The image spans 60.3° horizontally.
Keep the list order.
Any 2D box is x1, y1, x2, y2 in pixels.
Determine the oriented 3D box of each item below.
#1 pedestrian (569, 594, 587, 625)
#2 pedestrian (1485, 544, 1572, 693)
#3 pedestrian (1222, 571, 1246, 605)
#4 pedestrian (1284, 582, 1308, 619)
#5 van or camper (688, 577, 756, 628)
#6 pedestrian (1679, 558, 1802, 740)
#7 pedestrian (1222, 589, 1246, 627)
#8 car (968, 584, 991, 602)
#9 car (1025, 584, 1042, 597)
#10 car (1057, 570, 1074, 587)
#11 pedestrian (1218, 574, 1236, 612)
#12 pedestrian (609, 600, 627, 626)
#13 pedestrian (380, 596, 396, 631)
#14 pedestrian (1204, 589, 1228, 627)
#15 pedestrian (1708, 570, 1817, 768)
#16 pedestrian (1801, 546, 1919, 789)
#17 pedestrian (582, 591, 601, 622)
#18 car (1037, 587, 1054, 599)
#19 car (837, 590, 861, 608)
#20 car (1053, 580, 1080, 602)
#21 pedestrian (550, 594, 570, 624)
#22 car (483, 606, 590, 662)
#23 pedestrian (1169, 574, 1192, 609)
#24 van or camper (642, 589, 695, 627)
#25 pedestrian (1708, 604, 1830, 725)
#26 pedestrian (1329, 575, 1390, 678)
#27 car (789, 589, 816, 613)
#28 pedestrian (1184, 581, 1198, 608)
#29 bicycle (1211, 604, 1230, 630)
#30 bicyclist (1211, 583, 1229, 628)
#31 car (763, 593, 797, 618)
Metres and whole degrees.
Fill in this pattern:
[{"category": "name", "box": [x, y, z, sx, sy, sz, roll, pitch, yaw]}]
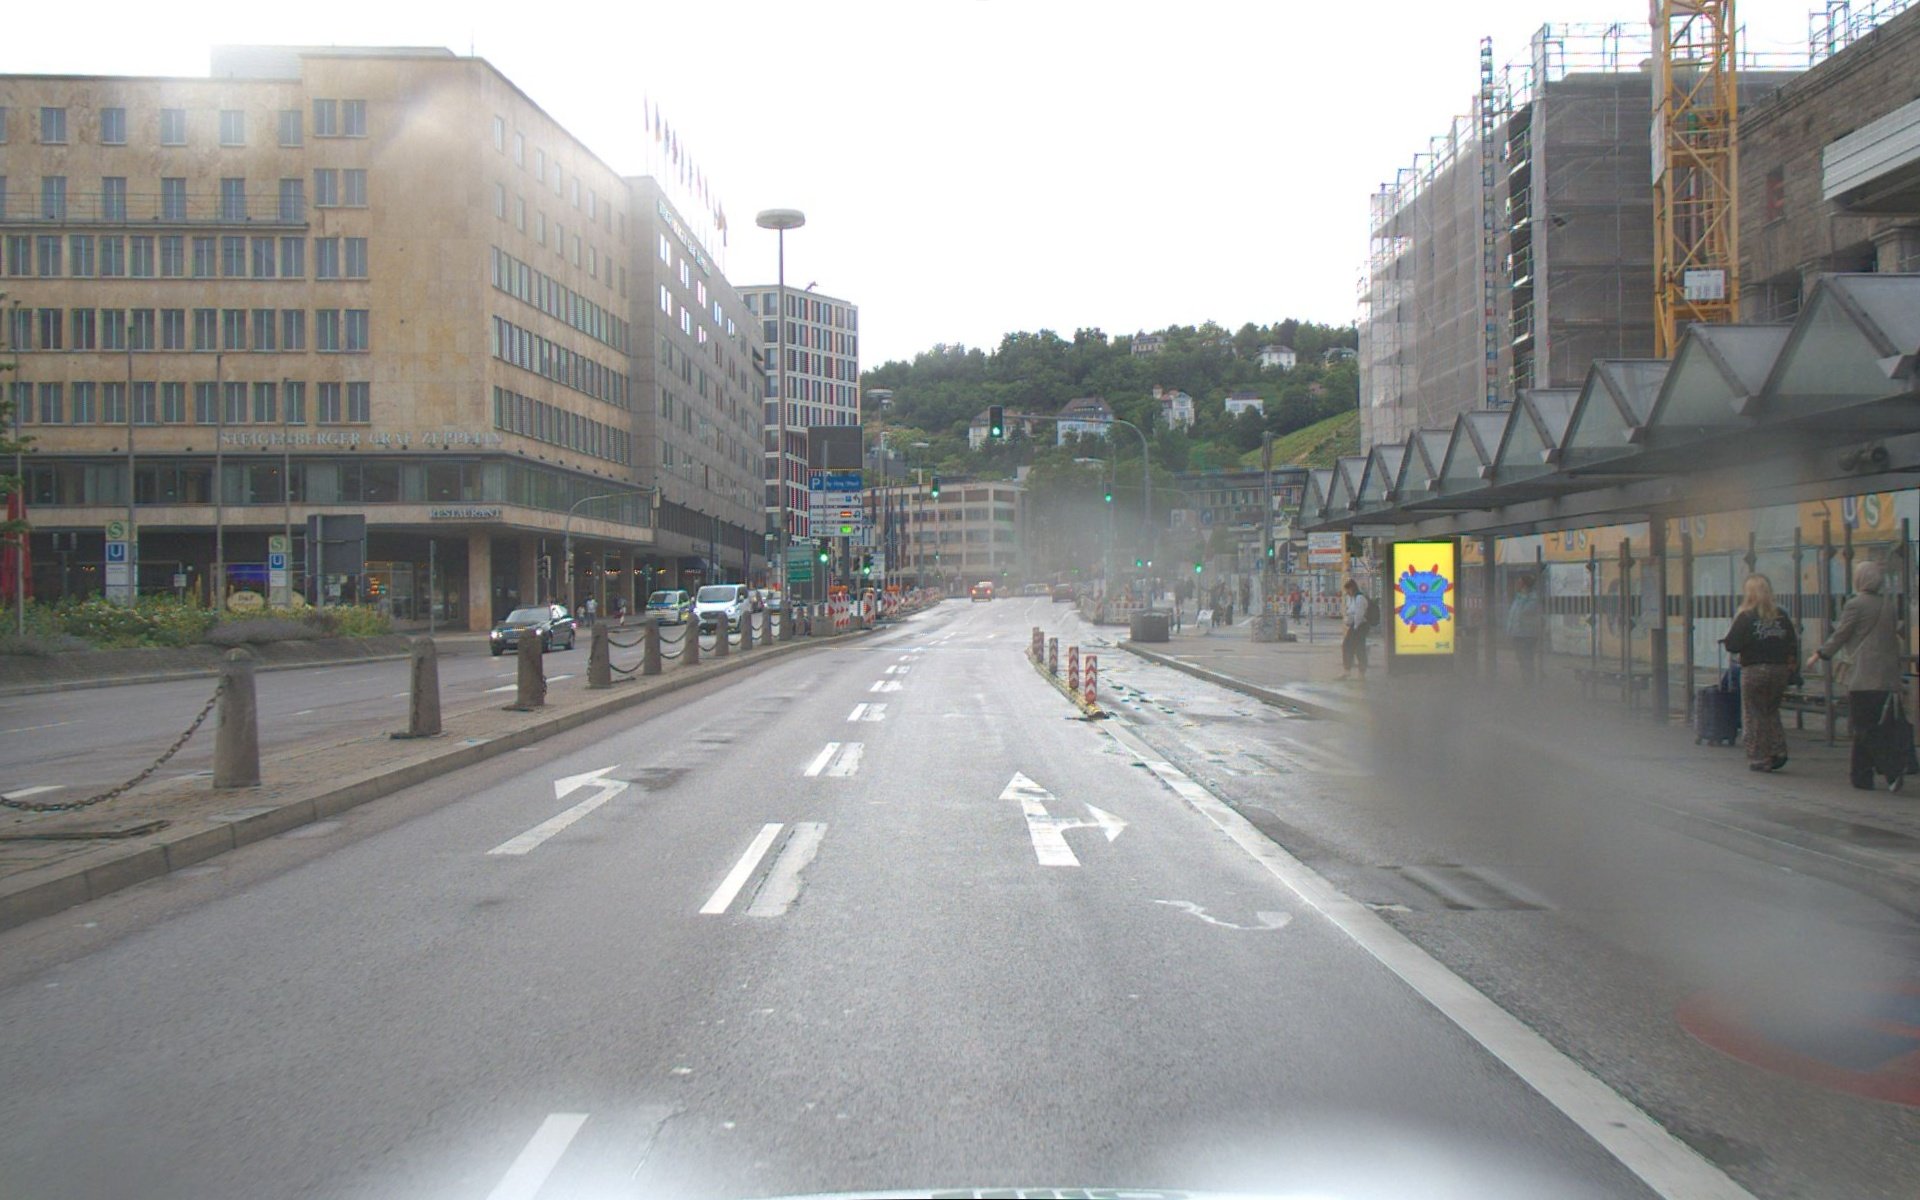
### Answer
[{"category": "pedestrian", "box": [-19.980, 0.512, 86.499, 0.706, 1.584, 0.905, -1, 0, 3]}, {"category": "pedestrian", "box": [8.179, 0.261, 23.816, 0.797, 2.086, 0.913, 1, 0, -41]}, {"category": "pedestrian", "box": [15.165, -0.679, 91.529, 0.853, 1.873, 0.943, -2, -1, 44]}, {"category": "pedestrian", "box": [15.152, 0.016, 74.560, 0.754, 1.636, 0.860, -1, 0, -13]}, {"category": "van or camper", "box": [-9.986, 0.118, 69.877, 1.952, 2.049, 5.190, -1, 0, 2]}, {"category": "pedestrian", "box": [7.457, 0.458, 15.835, 0.791, 1.689, 0.804, 0, 0, -1]}, {"category": "pedestrian", "box": [11.872, 0.333, 71.603, 0.780, 1.636, 0.834, -1, 0, 30]}, {"category": "car", "box": [1.775, -0.643, 150.530, 1.953, 1.579, 3.999, -1, 0, -1]}, {"category": "car", "box": [8.686, -1.084, 195.232, 1.782, 1.467, 4.000, 1, 0, 0]}, {"category": "car", "box": [11.530, -2.338, 180.662, 1.739, 1.668, 4.001, -2, -2, 2]}, {"category": "pedestrian", "box": [13.607, -0.349, 84.337, 0.846, 1.873, 0.798, -1, 0, 11]}, {"category": "pedestrian", "box": [-20.417, 0.774, 98.725, 0.778, 1.553, 0.916, -1, 0, 3]}, {"category": "pedestrian", "box": [-27.773, 0.640, 80.276, 0.684, 1.673, 0.647, -1, 0, -18]}, {"category": "pedestrian", "box": [11.154, 0.332, 72.004, 0.780, 1.636, 0.834, -1, 0, 30]}, {"category": "pedestrian", "box": [6.630, 0.554, 13.690, 0.510, 1.593, 0.728, -1, 0, -1]}, {"category": "pedestrian", "box": [6.801, 0.479, 12.194, 0.747, 1.723, 0.822, -1, 0, -1]}, {"category": "pedestrian", "box": [-19.247, 0.358, 86.452, 0.706, 1.584, 0.895, -1, 0, 3]}, {"category": "car", "box": [10.876, -0.874, 210.309, 1.953, 1.467, 4.000, 1, 0, 0]}, {"category": "car", "box": [-11.110, -0.079, 165.347, 1.952, 1.780, 4.001, -1, 0, 2]}, {"category": "car", "box": [8.692, -0.686, 135.306, 1.953, 1.736, 4.000, -1, 0, 0]}, {"category": "pedestrian", "box": [-20.966, 0.478, 86.719, 0.706, 1.584, 1.005, -1, 0, 3]}, {"category": "car", "box": [-13.346, 1.021, 52.432, 1.952, 1.645, 4.979, -1, 0, 2]}, {"category": "pedestrian", "box": [11.884, -0.444, 89.073, 0.929, 1.873, 0.944, -1, 0, 32]}, {"category": "van or camper", "box": [-16.343, 0.436, 92.901, 1.952, 2.049, 4.966, -1, 0, 1]}, {"category": "pedestrian", "box": [8.690, 0.675, 17.796, 0.894, 1.252, 0.840, 1, 0, -1]}, {"category": "pedestrian", "box": [6.767, 0.433, 28.042, 0.693, 1.709, 0.717, -1, 0, -27]}, {"category": "car", "box": [-14.853, 0.056, 155.937, 1.952, 2.048, 4.002, -3, 1, 2]}, {"category": "pedestrian", "box": [16.408, -0.396, 117.458, 0.926, 1.873, 0.868, -1, 0, 7]}, {"category": "bicycle", "box": [10.924, 0.715, 69.476, 0.692, 1.068, 1.807, 0, 1, 6]}, {"category": "bicyclist", "box": [10.941, 0.229, 69.583, 0.688, 1.877, 0.968, 0, 0, 6]}, {"category": "car", "box": [-12.463, 0.369, 114.836, 1.731, 1.637, 4.227, -1, 0, 1]}]
